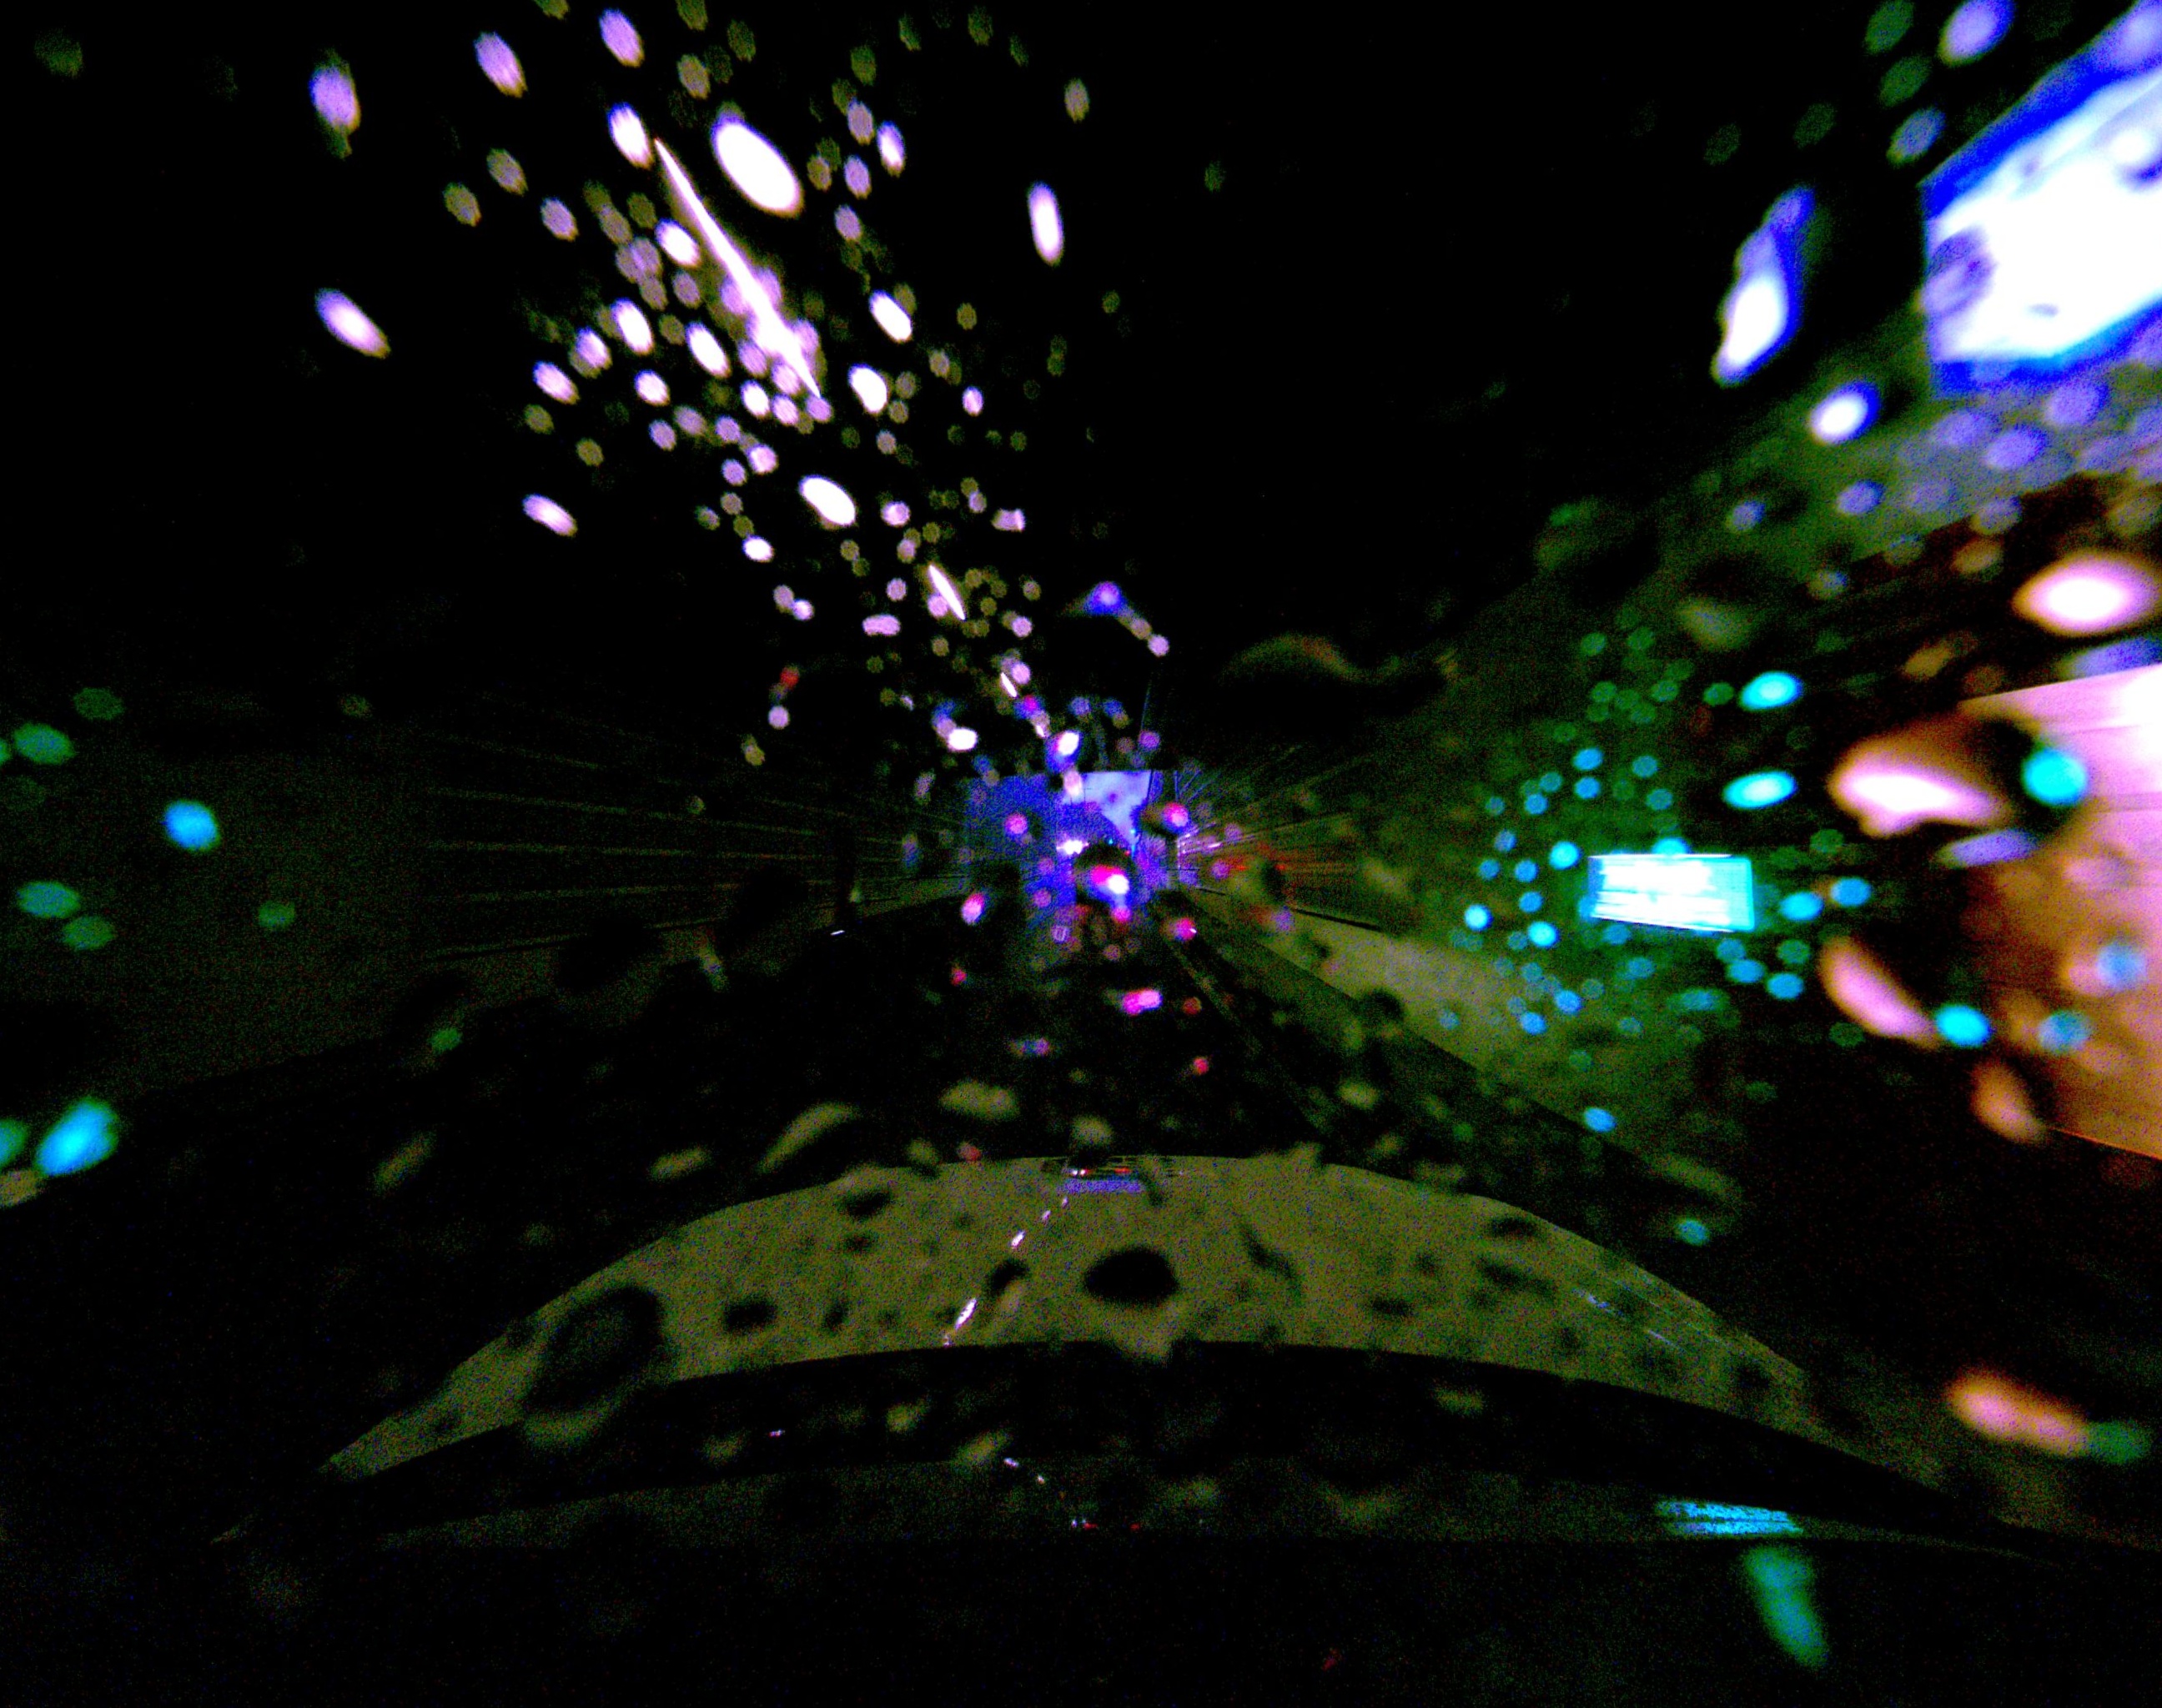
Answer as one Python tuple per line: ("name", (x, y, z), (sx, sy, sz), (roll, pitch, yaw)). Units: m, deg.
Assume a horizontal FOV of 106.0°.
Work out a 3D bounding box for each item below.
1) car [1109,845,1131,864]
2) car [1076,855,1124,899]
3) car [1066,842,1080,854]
("car", (3.545, 0.062, 74.691), (1.873, 1.621, 4.001), (1, -2, 2))
("car", (0.647, 0.762, 27.918), (1.526, 1.397, 3.434), (1, -1, 1))
("car", (-1.329, -0.956, 131.488), (1.872, 1.621, 4.004), (1, -2, 4))
